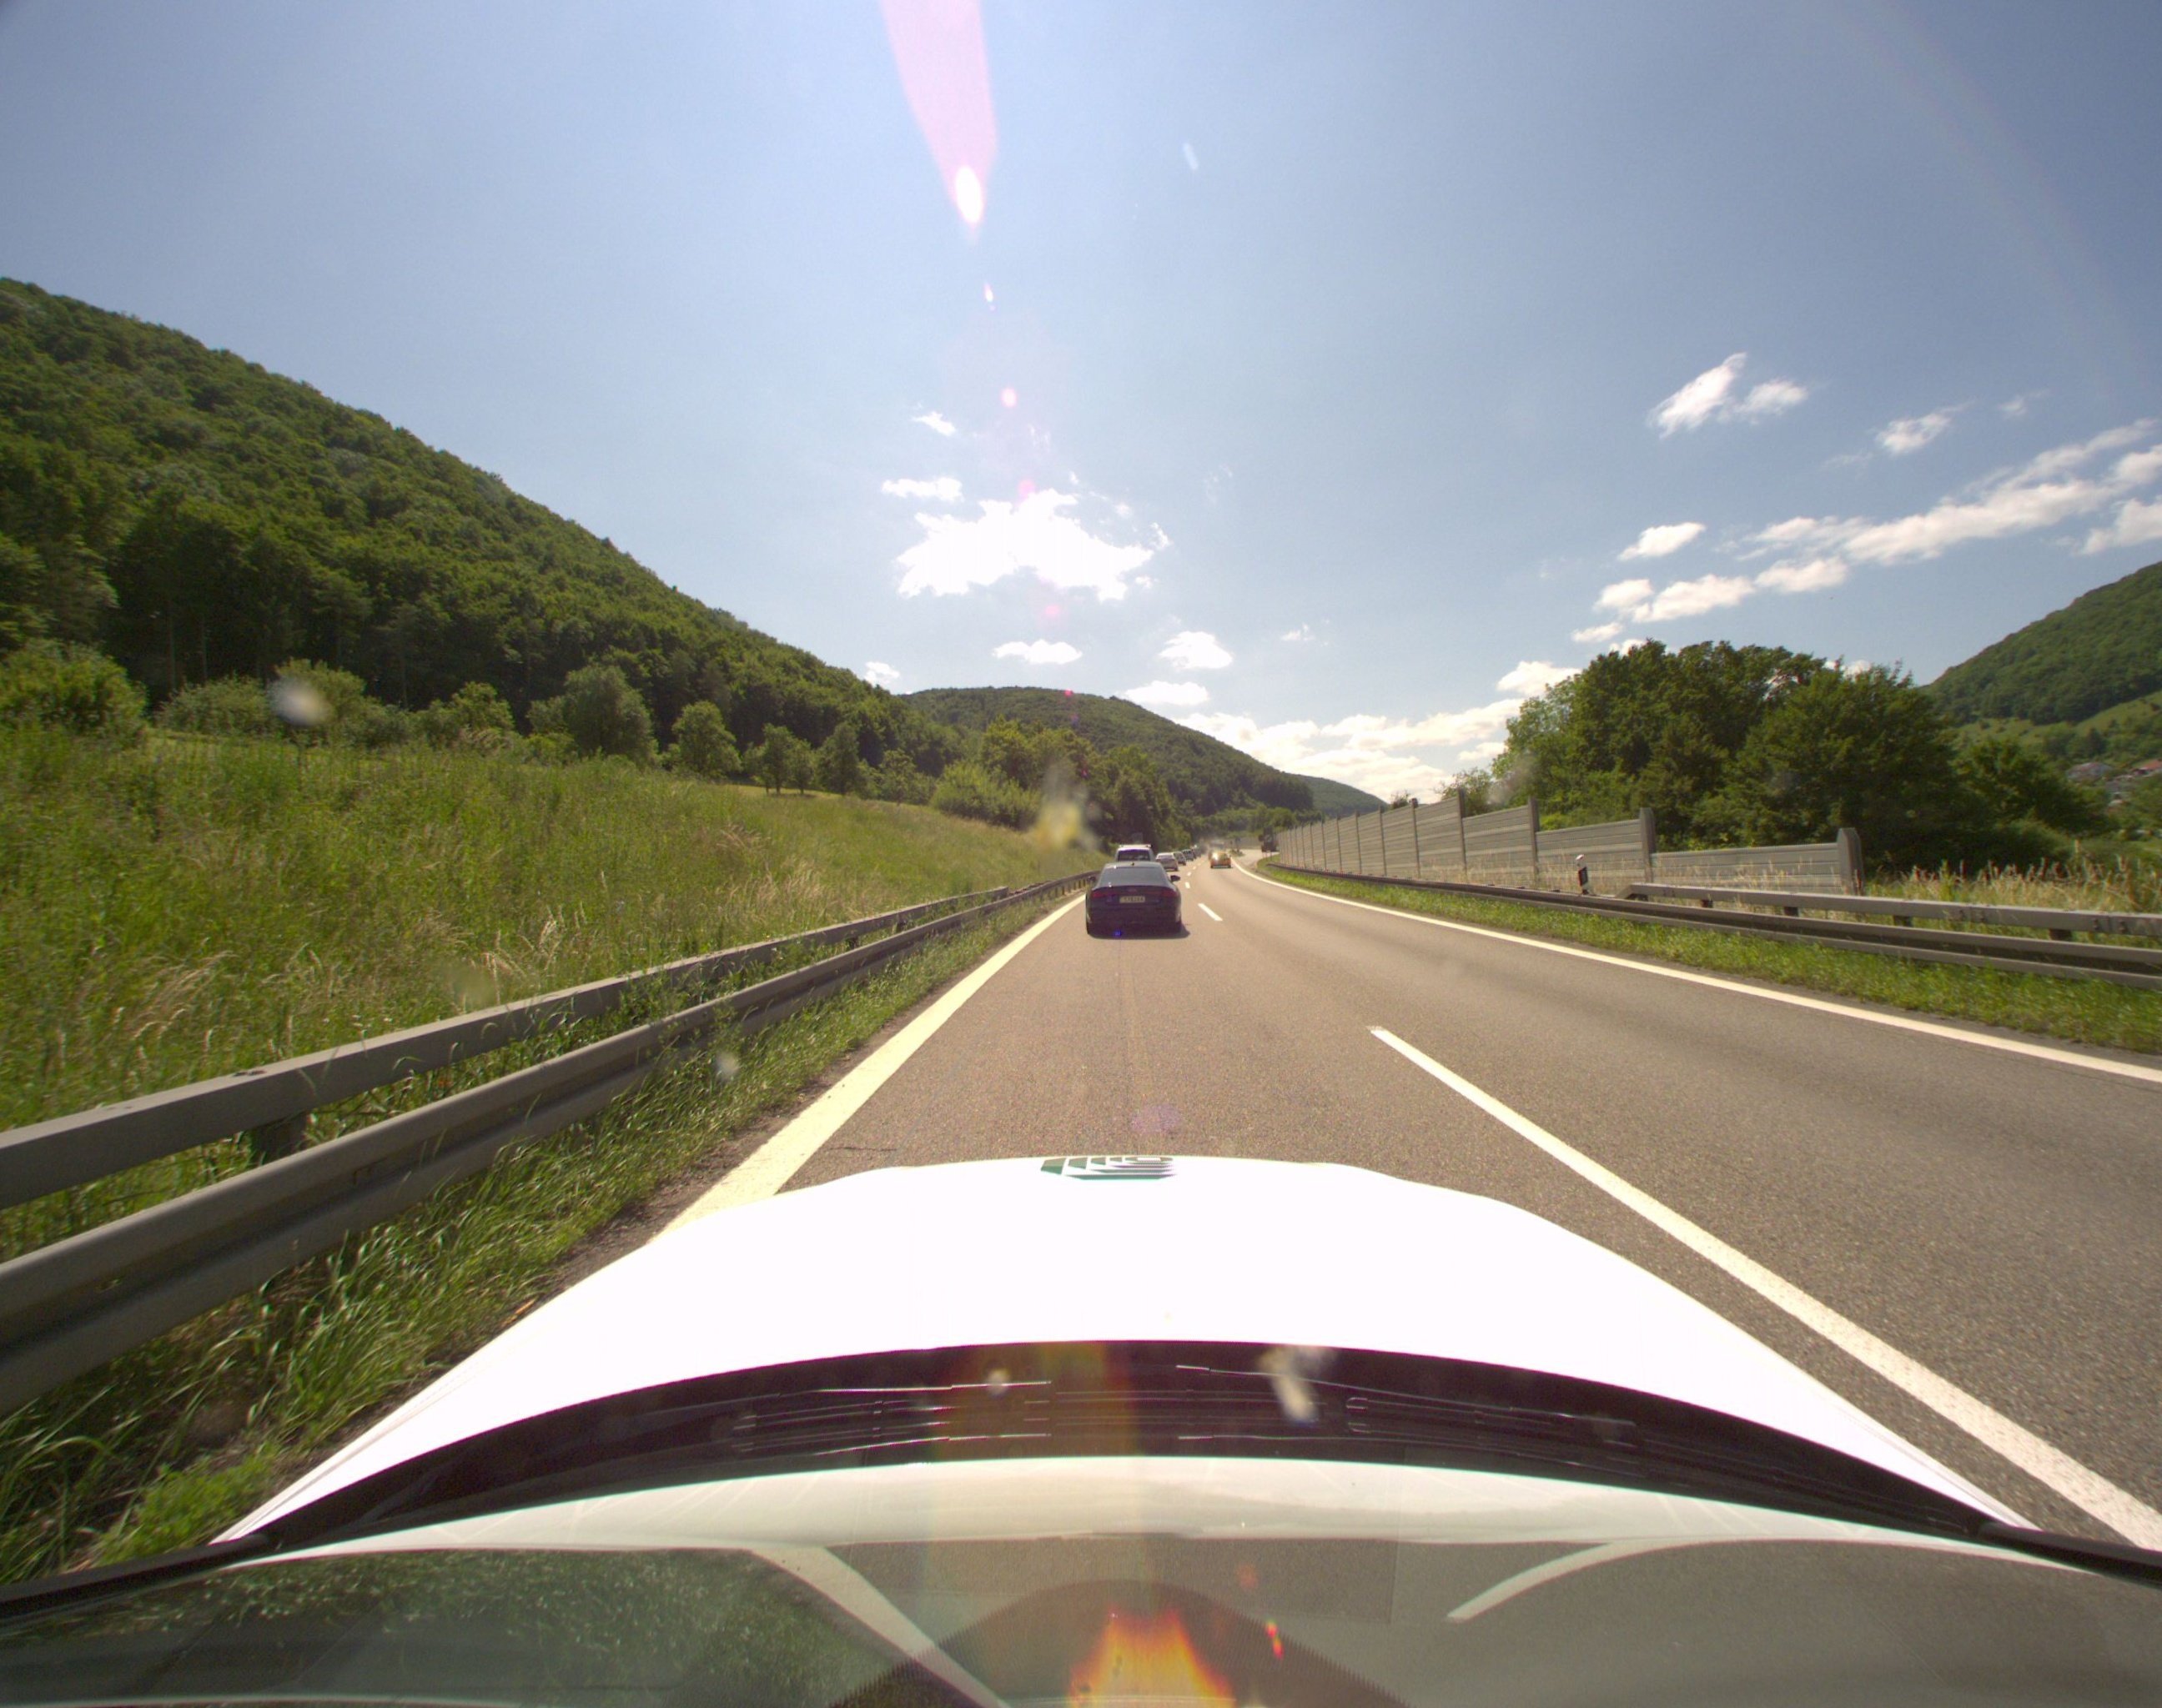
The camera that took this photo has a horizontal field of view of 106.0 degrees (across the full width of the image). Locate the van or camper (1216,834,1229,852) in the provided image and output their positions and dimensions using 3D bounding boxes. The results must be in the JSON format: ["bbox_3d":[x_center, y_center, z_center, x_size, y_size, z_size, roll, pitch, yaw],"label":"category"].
[{"bbox_3d":[32.941,-2.488,189.796,2.779,3.907,6.180,0,-1,8],"label":"van or camper"}]

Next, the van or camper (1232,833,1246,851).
[{"bbox_3d":[35.405,-2.723,182.619,2.779,3.841,6.180,0,-1,8],"label":"van or camper"}]

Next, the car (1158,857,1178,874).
[{"bbox_3d":[7.105,0.915,66.117,1.513,1.294,3.521,0,0,7],"label":"car"}]

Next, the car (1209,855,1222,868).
[{"bbox_3d":[16.252,0.853,98.202,1.520,1.525,3.606,0,-1,10],"label":"car"}]

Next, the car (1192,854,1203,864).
[{"bbox_3d":[19.328,0.853,135.039,1.511,1.553,3.526,0,0,12],"label":"car"}]

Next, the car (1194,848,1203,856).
[{"bbox_3d":[22.453,-0.421,155.217,1.511,1.553,3.525,0,0,11],"label":"car"}]

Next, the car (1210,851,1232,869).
[{"bbox_3d":[12.511,0.488,72.784,1.867,1.499,4.011,-2,0,10],"label":"car"}]

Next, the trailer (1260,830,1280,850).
[{"bbox_3d":[40.011,-2.874,172.493,3.391,3.900,11.181,-2,0,9],"label":"trailer"}]

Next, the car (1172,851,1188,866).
[{"bbox_3d":[10.542,0.462,86.475,1.511,1.553,3.524,0,0,10],"label":"car"}]

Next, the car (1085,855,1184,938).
[{"bbox_3d":[1.065,0.787,16.814,1.805,1.514,3.516,0,0,2],"label":"car"}]

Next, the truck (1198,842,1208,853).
[{"bbox_3d":[29.481,-1.465,196.870,2.051,2.605,5.632,0,0,12],"label":"truck"}]

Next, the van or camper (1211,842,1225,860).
[{"bbox_3d":[24.967,-0.515,148.021,2.414,3.155,5.218,0,-1,10],"label":"van or camper"}]

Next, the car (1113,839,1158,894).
[{"bbox_3d":[2.134,0.447,31.212,1.513,1.968,3.521,0,0,7],"label":"car"}]

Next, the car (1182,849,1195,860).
[{"bbox_3d":[15.513,0.127,117.560,1.511,1.553,3.525,0,0,11],"label":"car"}]
